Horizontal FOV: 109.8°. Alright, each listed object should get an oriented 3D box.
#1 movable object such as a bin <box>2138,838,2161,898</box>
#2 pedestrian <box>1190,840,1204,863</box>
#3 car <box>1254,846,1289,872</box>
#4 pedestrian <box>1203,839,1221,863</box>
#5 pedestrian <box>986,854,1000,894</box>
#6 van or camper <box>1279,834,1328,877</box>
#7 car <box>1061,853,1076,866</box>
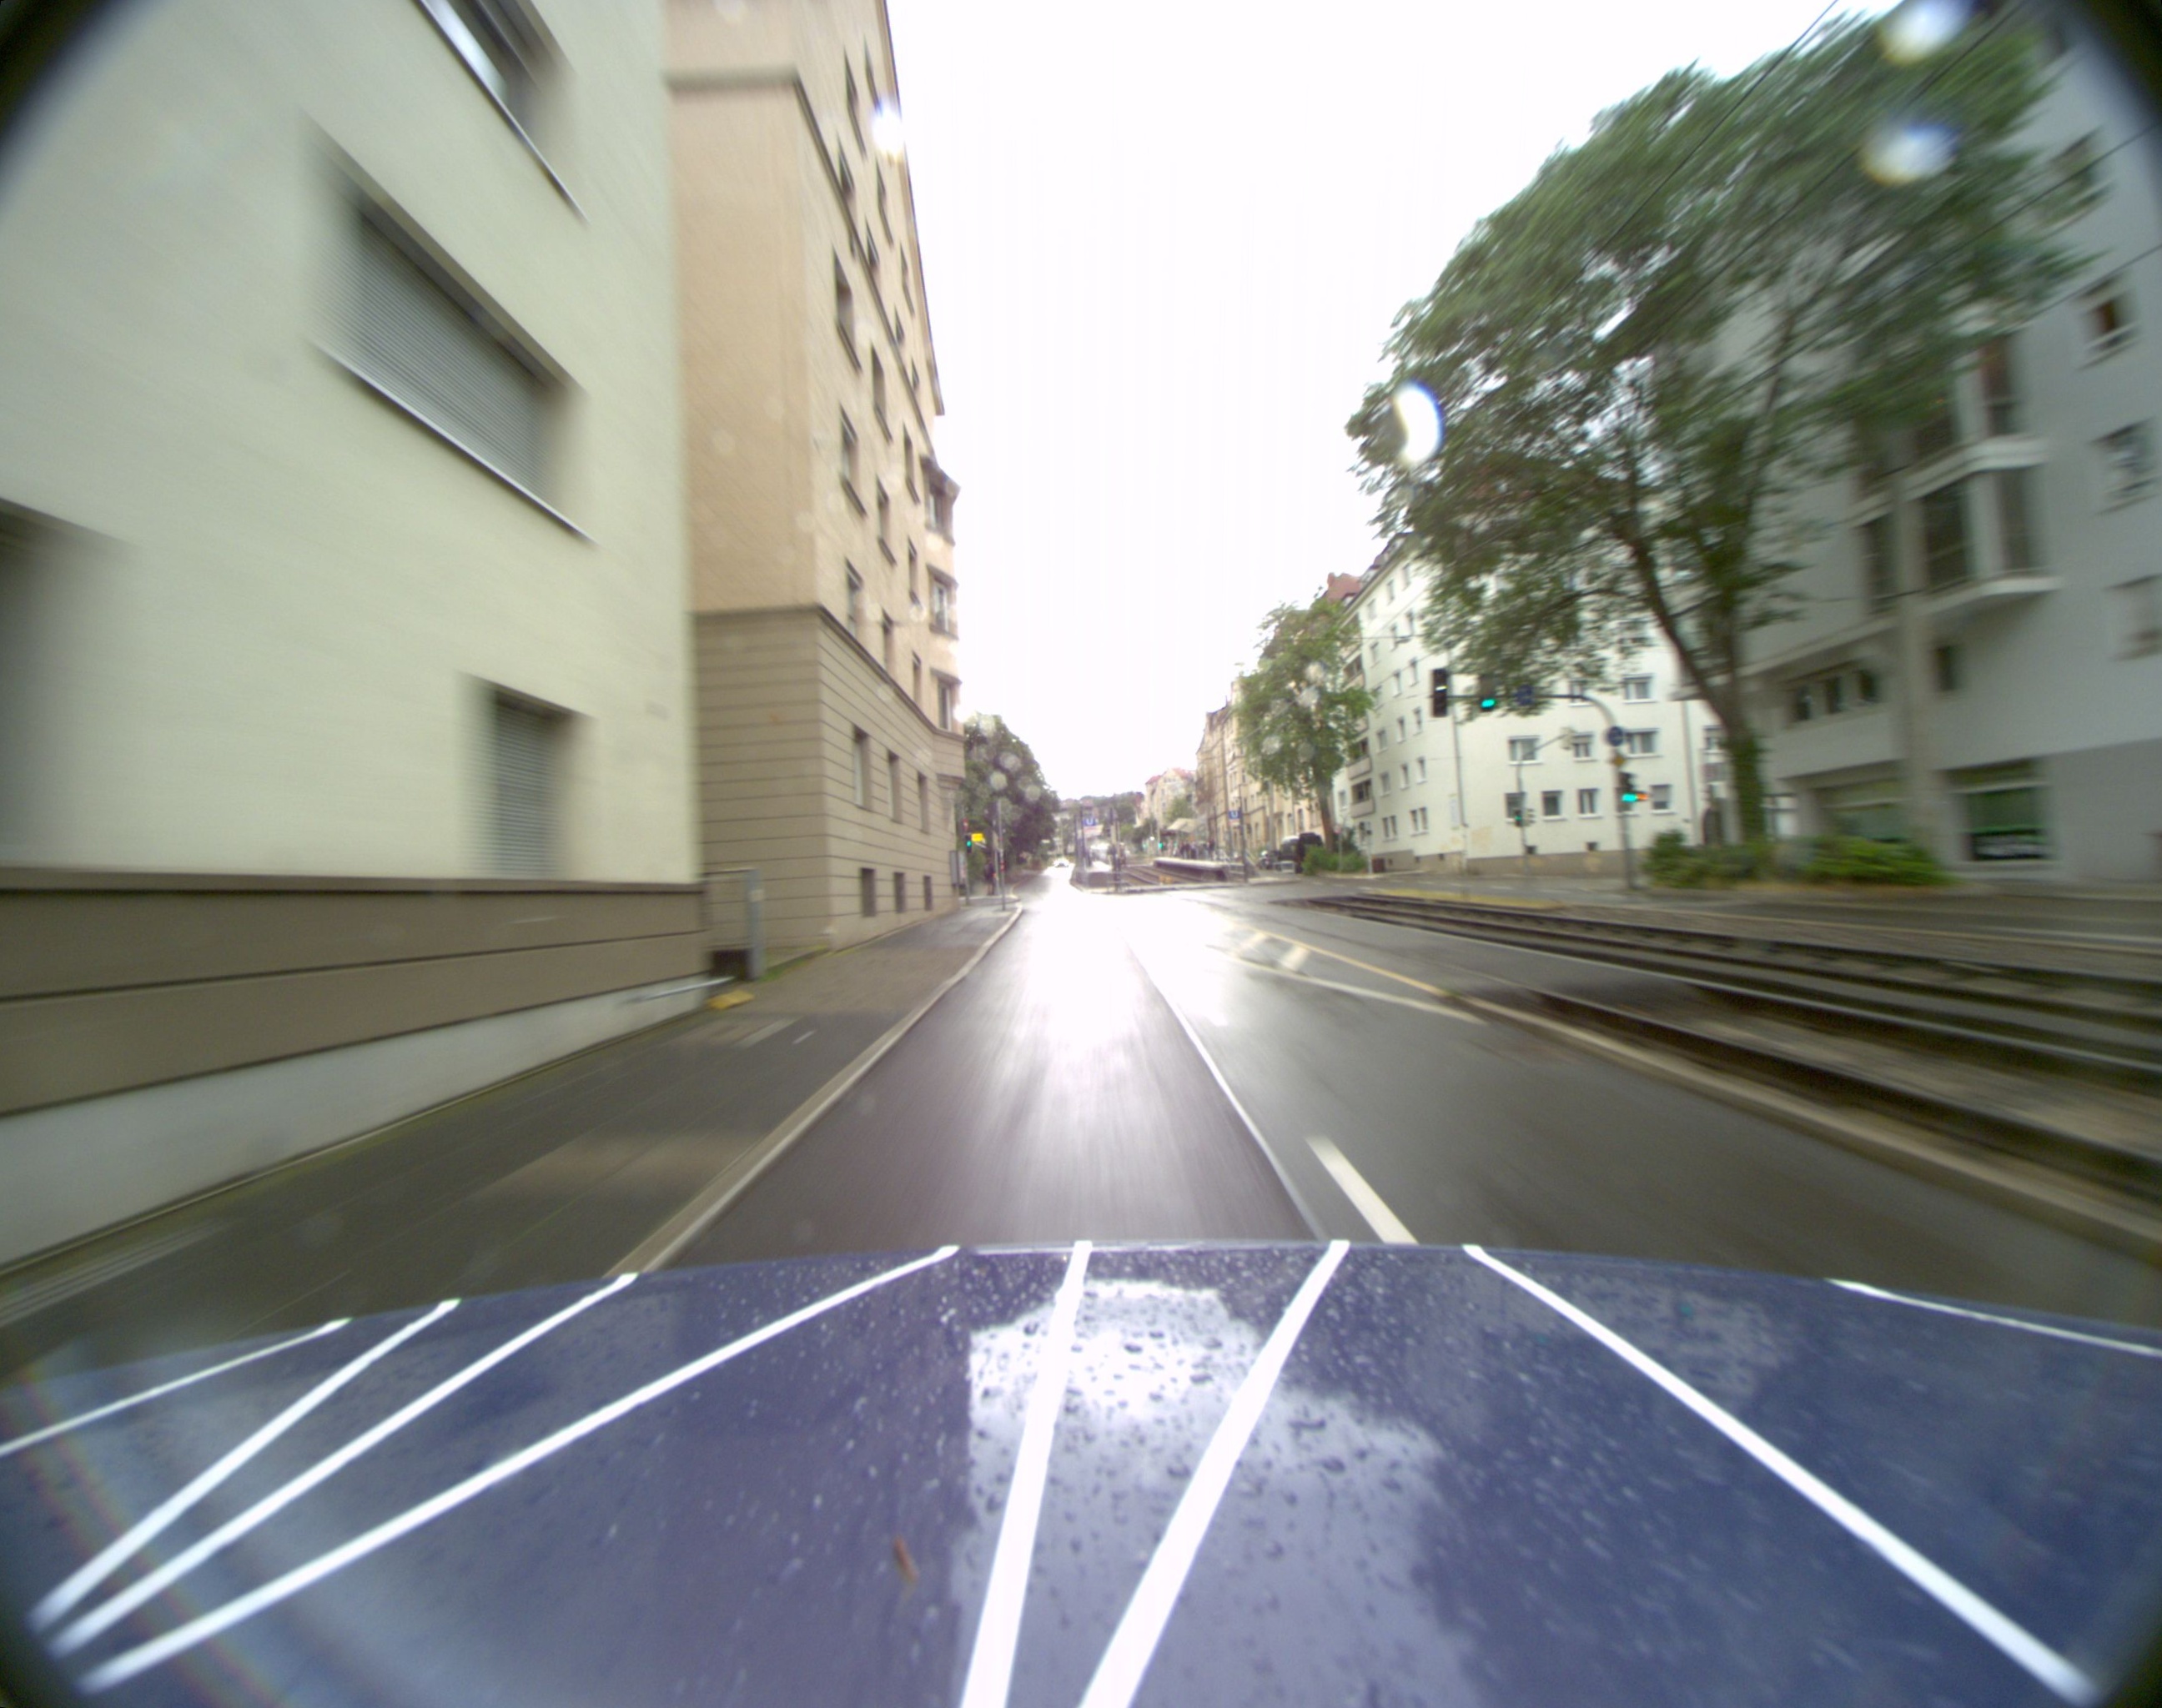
[{"bbox_3d":[18.327,0.229,12.678,0.439,1.008,0.645,-3,0,-1],"label":"movable object such as a bin"},{"bbox_3d":[9.621,-0.198,63.005,0.903,1.841,0.860,-3,0,2],"label":"pedestrian"},{"bbox_3d":[15.727,0.432,62.894,1.998,2.002,4.001,-3,0,2],"label":"car"},{"bbox_3d":[10.023,-0.257,58.169,1.120,1.772,0.965,-3,0,1],"label":"pedestrian"},{"bbox_3d":[-4.287,0.987,36.929,0.547,1.904,0.604,-2,0,-2],"label":"pedestrian"},{"bbox_3d":[15.537,0.088,53.324,1.998,2.781,5.213,-2,0,2],"label":"van or camper"},{"bbox_3d":[-1.706,0.792,108.307,1.999,1.652,4.000,-3,0,0],"label":"car"}]
